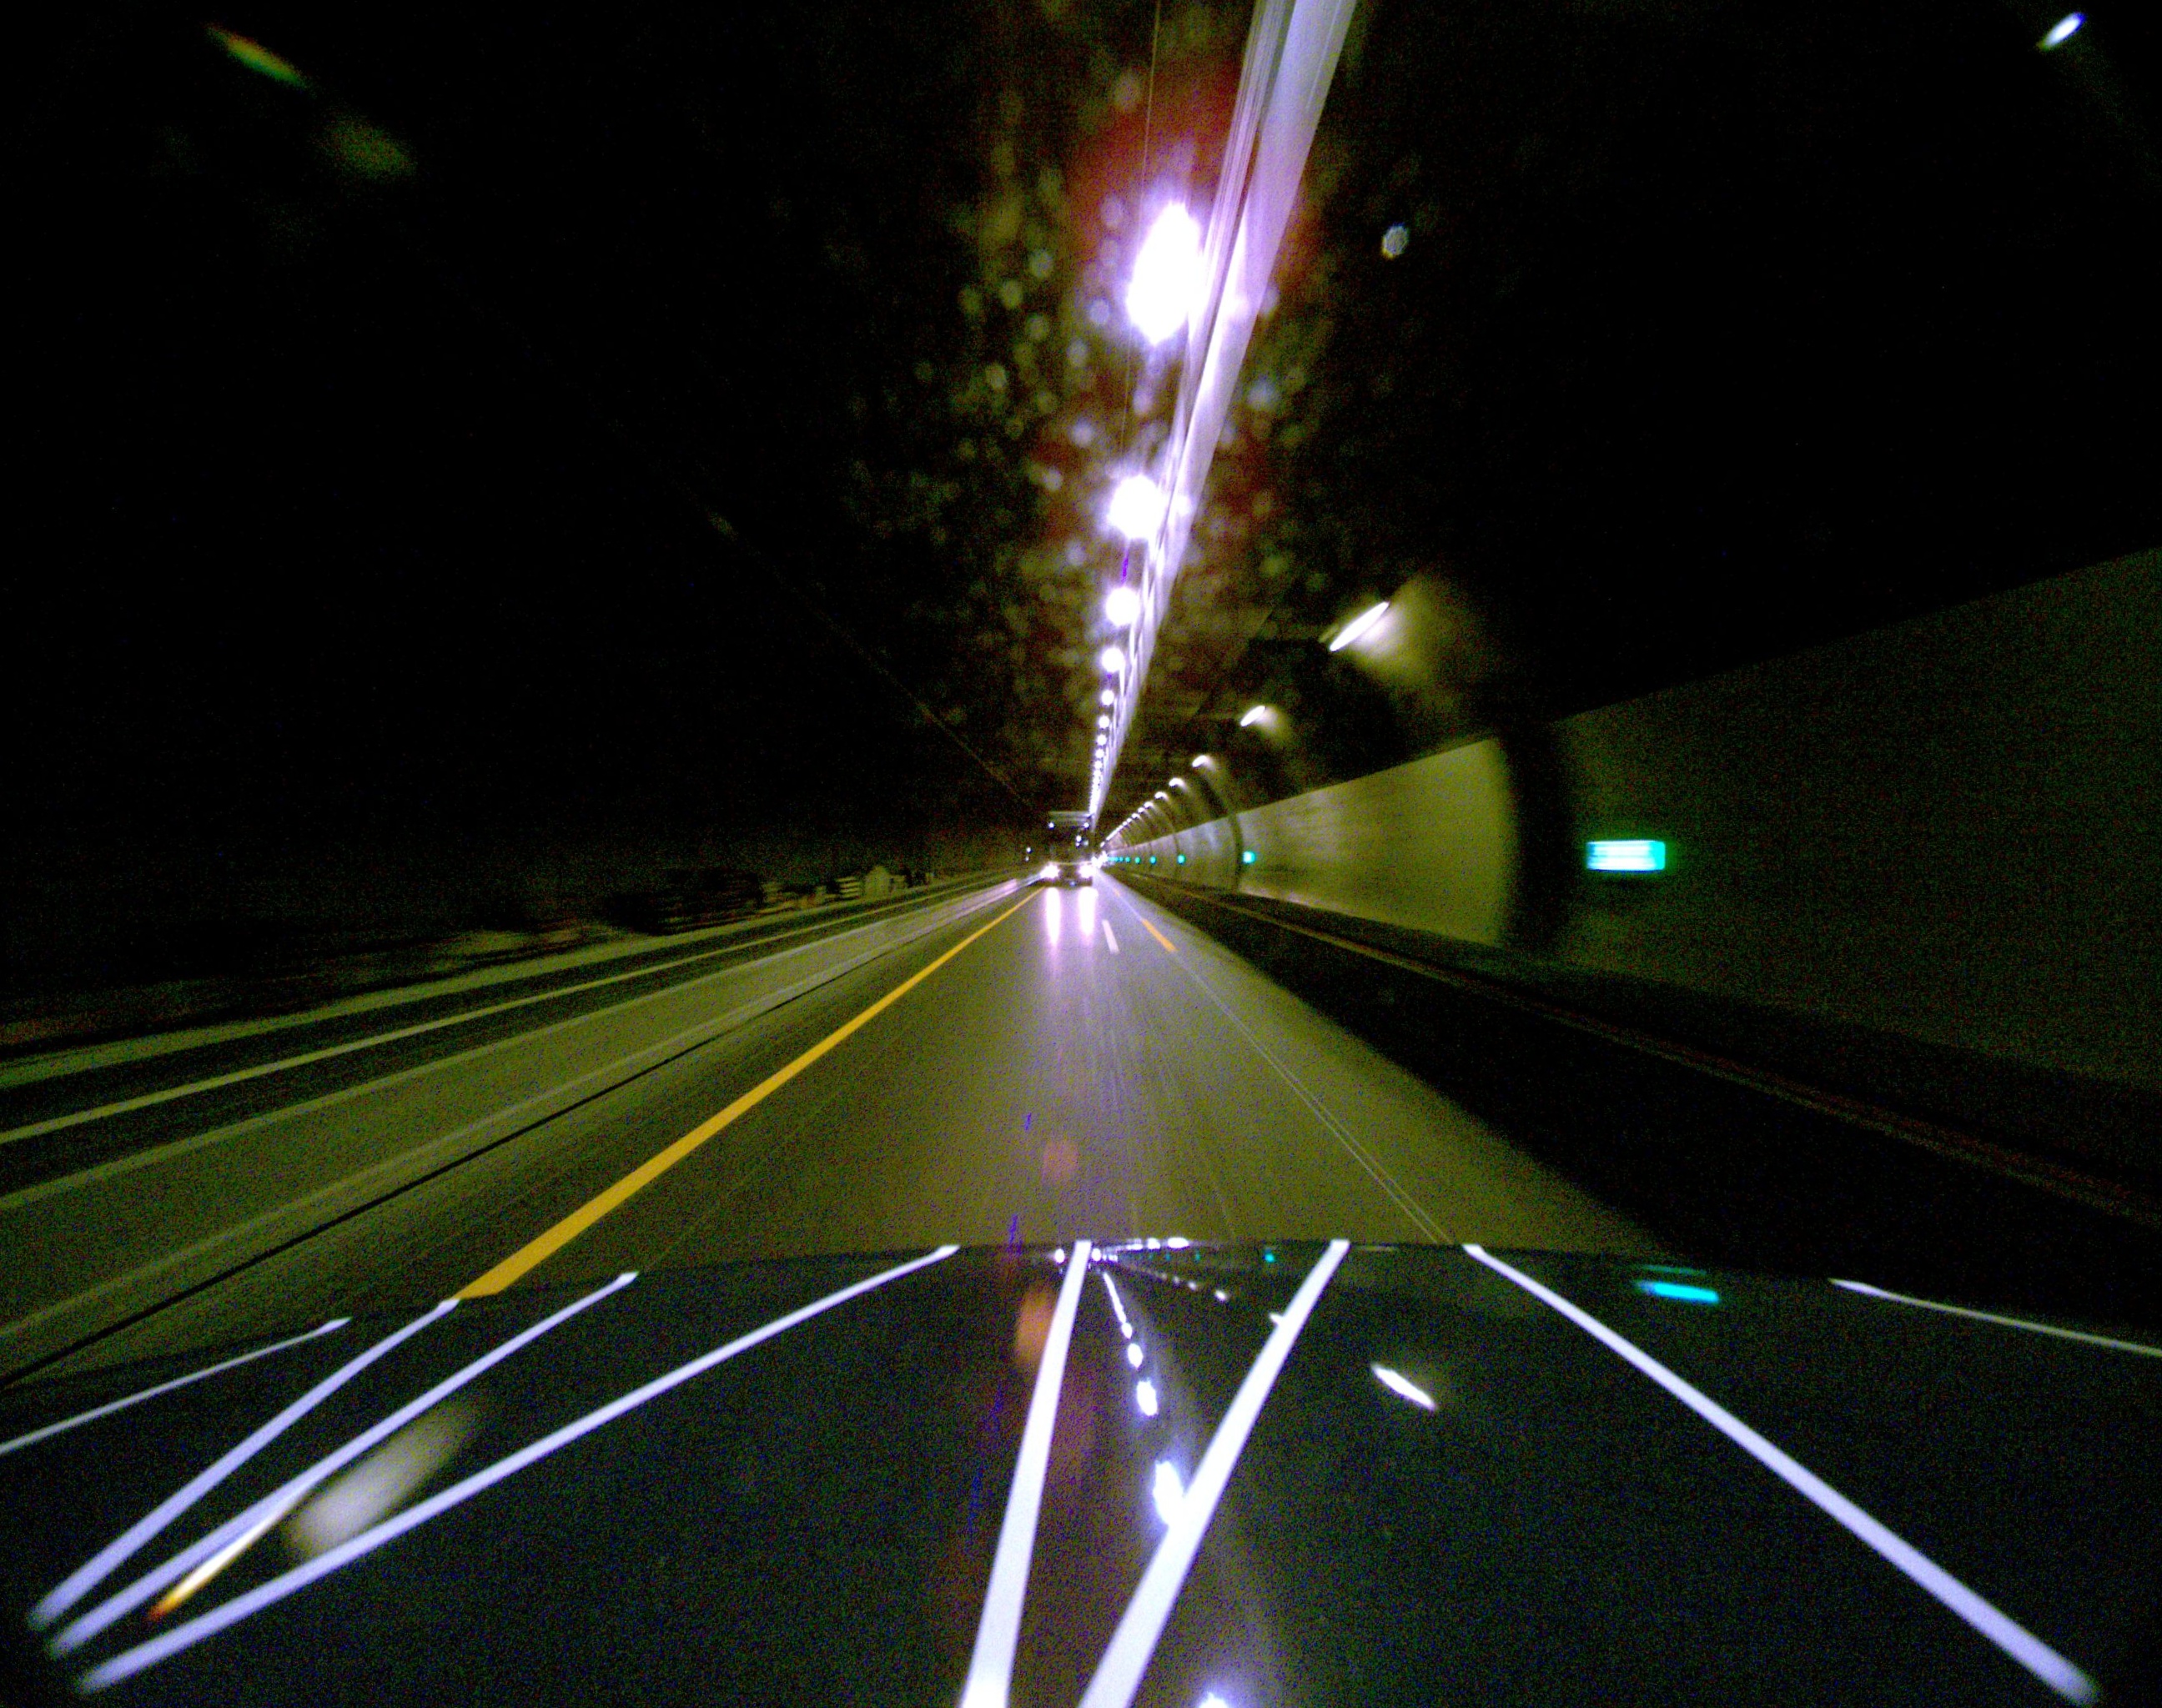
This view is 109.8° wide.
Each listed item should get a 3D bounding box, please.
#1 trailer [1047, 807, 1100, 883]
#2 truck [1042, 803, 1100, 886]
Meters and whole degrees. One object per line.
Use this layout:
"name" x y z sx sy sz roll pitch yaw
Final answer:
"trailer" -0.360 -0.593 49.223 2.939 4.316 10.051 -2 1 1
"truck" -0.465 -0.543 43.710 2.950 4.338 6.675 -2 1 1
